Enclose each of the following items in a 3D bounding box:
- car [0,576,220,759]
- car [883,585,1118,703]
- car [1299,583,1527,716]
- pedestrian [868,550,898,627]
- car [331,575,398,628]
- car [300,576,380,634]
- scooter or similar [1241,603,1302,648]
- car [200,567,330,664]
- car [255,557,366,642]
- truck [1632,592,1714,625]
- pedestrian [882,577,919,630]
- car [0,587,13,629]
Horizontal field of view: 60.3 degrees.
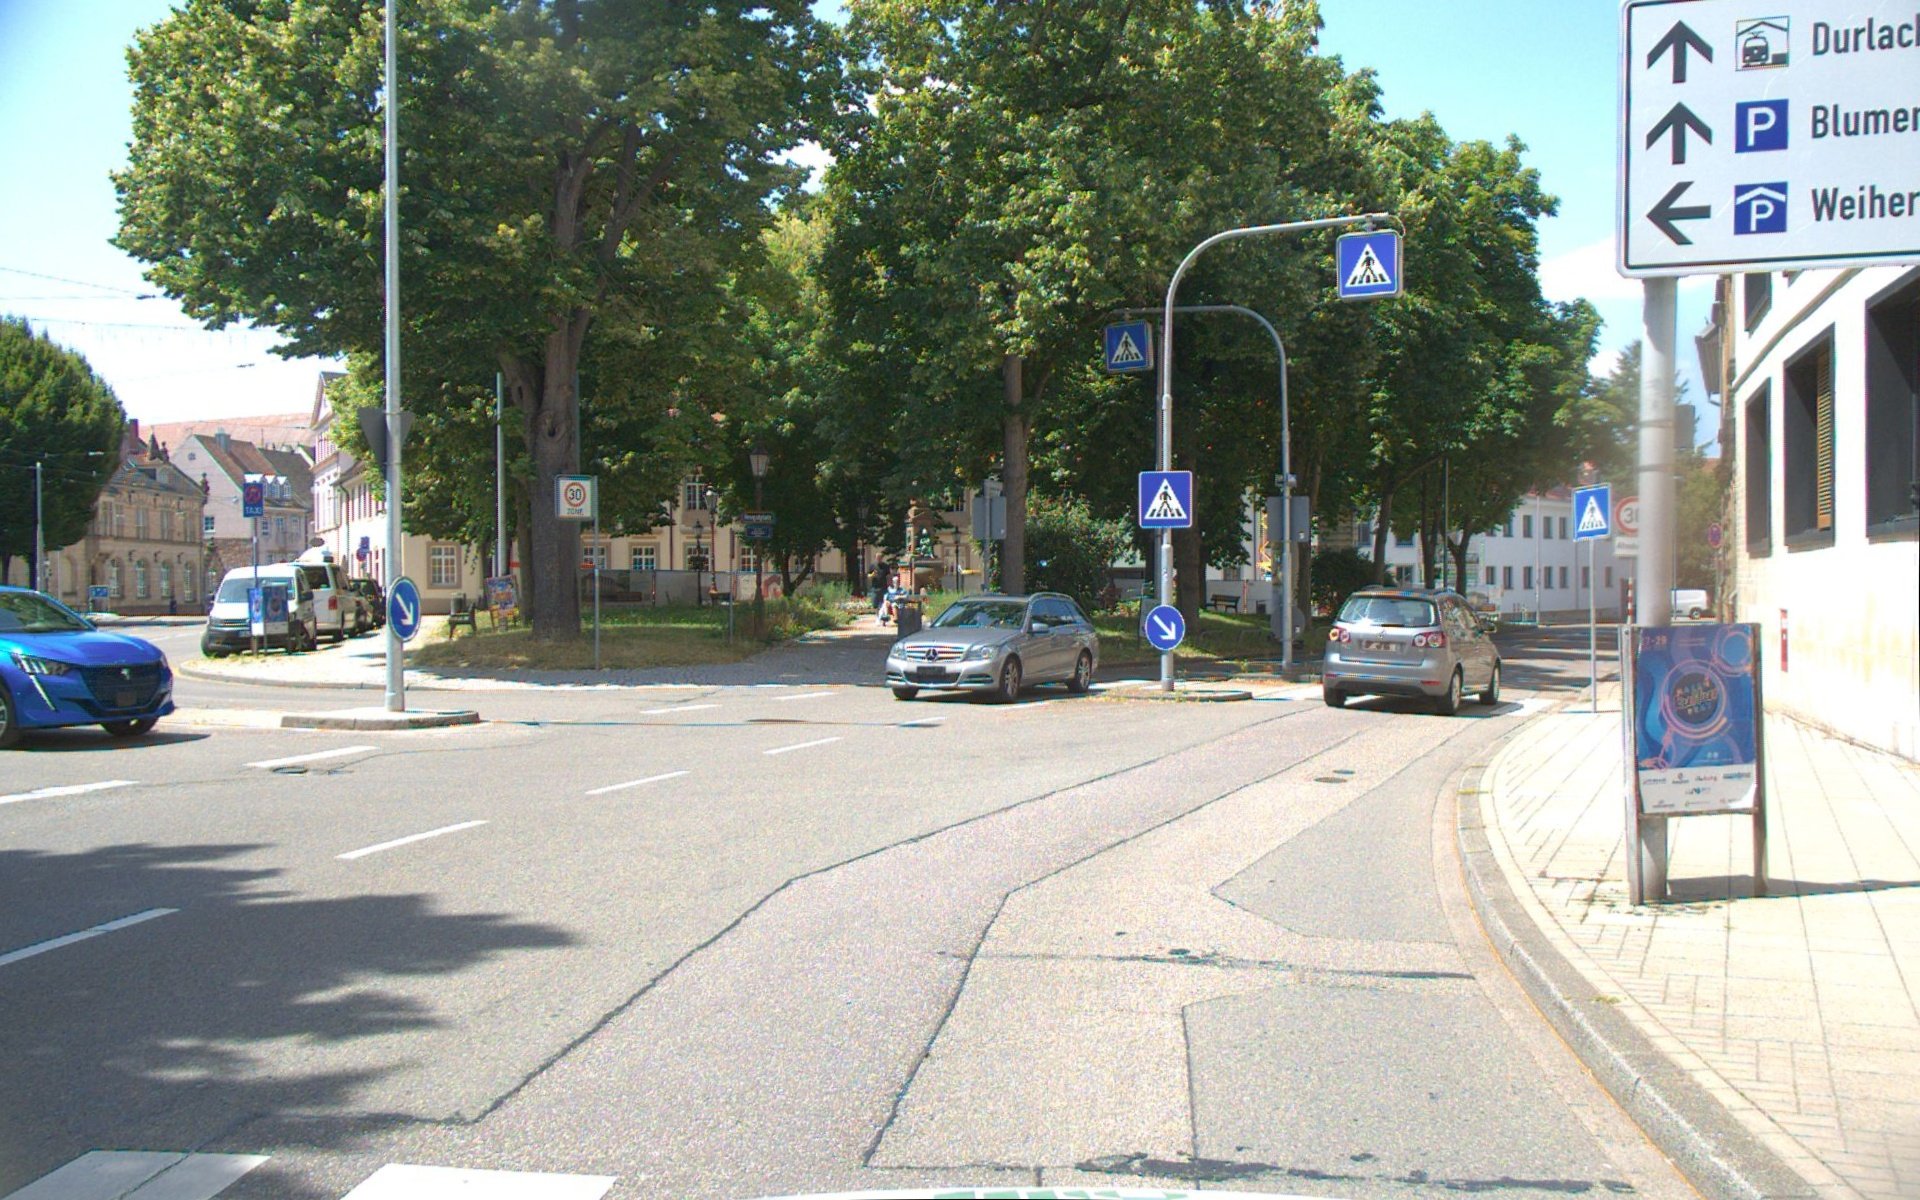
[{"bbox_3d":[-9.182,0.548,15.661,3.907,1.518,1.815,1,1,24],"label":"car"},{"bbox_3d":[0.695,0.563,23.819,1.703,1.514,4.404,1,0,26],"label":"car"},{"bbox_3d":[6.267,0.617,22.550,1.869,1.560,4.233,3,1,31],"label":"car"},{"bbox_3d":[-1.966,-0.300,42.128,0.732,1.944,0.684,0,2,-1],"label":"pedestrian"},{"bbox_3d":[-20.179,0.024,56.208,1.753,1.723,4.184,0,1,-14],"label":"car"},{"bbox_3d":[-18.435,0.115,49.361,1.753,1.652,4.468,0,1,-14],"label":"car"},{"bbox_3d":[8.505,0.692,45.140,1.248,1.007,1.451,9,3,23],"label":"scooter or similar"},{"bbox_3d":[-14.261,0.277,34.175,1.961,1.858,4.403,0,1,-16],"label":"car"},{"bbox_3d":[-16.548,-0.031,42.361,2.015,2.037,5.229,0,1,-14],"label":"car"},{"bbox_3d":[45.776,0.533,106.275,4.693,2.049,2.146,1,0,19],"label":"truck"},{"bbox_3d":[-1.481,0.077,41.259,0.887,1.273,1.148,0,2,-1],"label":"pedestrian"},{"bbox_3d":[-37.623,0.372,61.185,4.141,1.531,1.992,-2,1,-20],"label":"car"}]
